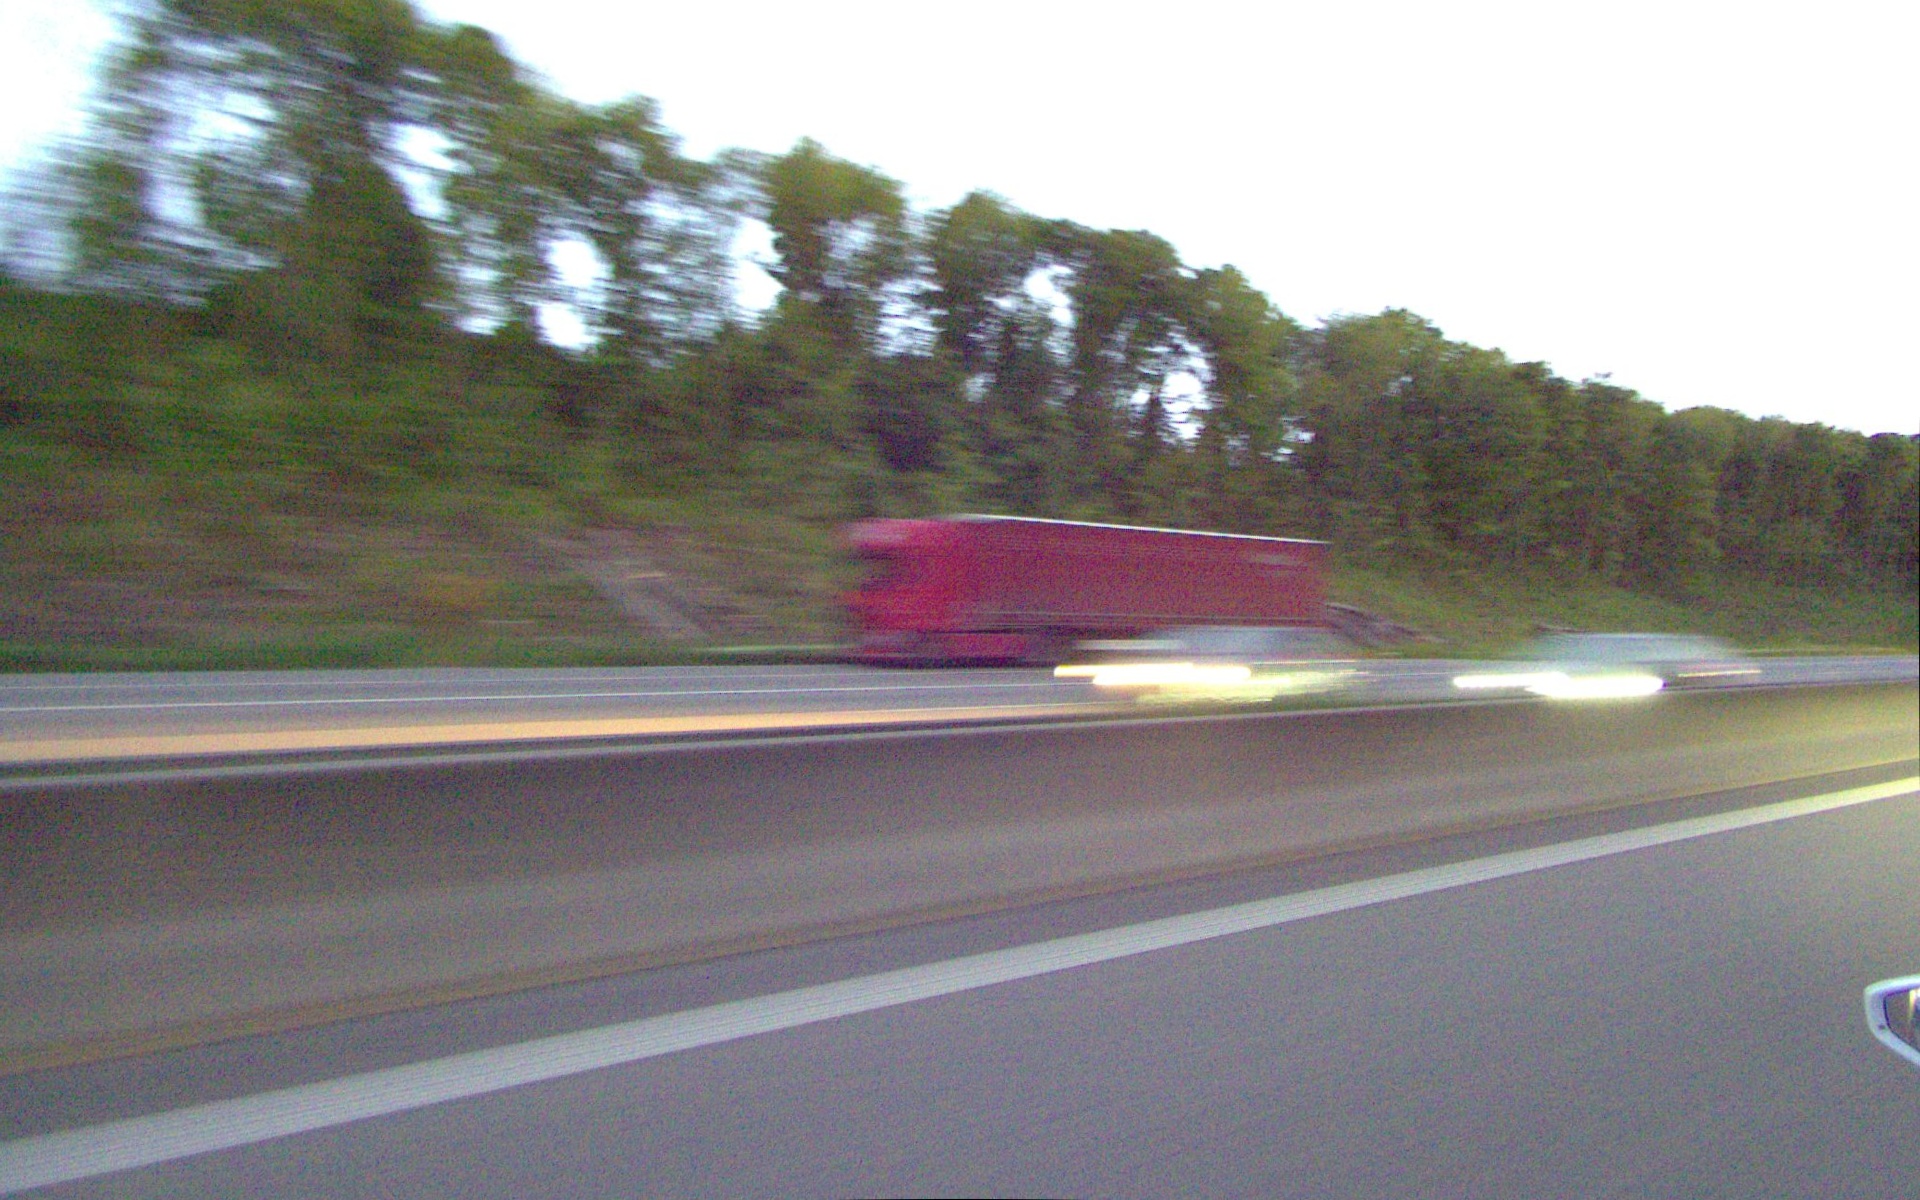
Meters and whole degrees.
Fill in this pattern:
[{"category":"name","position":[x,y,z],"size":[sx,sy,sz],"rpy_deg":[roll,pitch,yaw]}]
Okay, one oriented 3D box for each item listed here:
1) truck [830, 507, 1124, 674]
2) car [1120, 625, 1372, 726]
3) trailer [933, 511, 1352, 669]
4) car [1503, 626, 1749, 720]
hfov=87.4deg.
[{"category":"truck","position":[0.545,-0.110,28.132],"size":[7.597,4.159,3.177],"rpy_deg":[2,-1,-29]},{"category":"car","position":[5.008,1.246,17.411],"size":[4.363,1.535,1.678],"rpy_deg":[2,-1,-31]},{"category":"trailer","position":[6.128,-0.025,31.309],"size":[14.013,4.159,3.177],"rpy_deg":[2,-1,-29]},{"category":"car","position":[11.547,1.190,17.329],"size":[4.593,1.400,1.840],"rpy_deg":[2,-1,-32]}]
